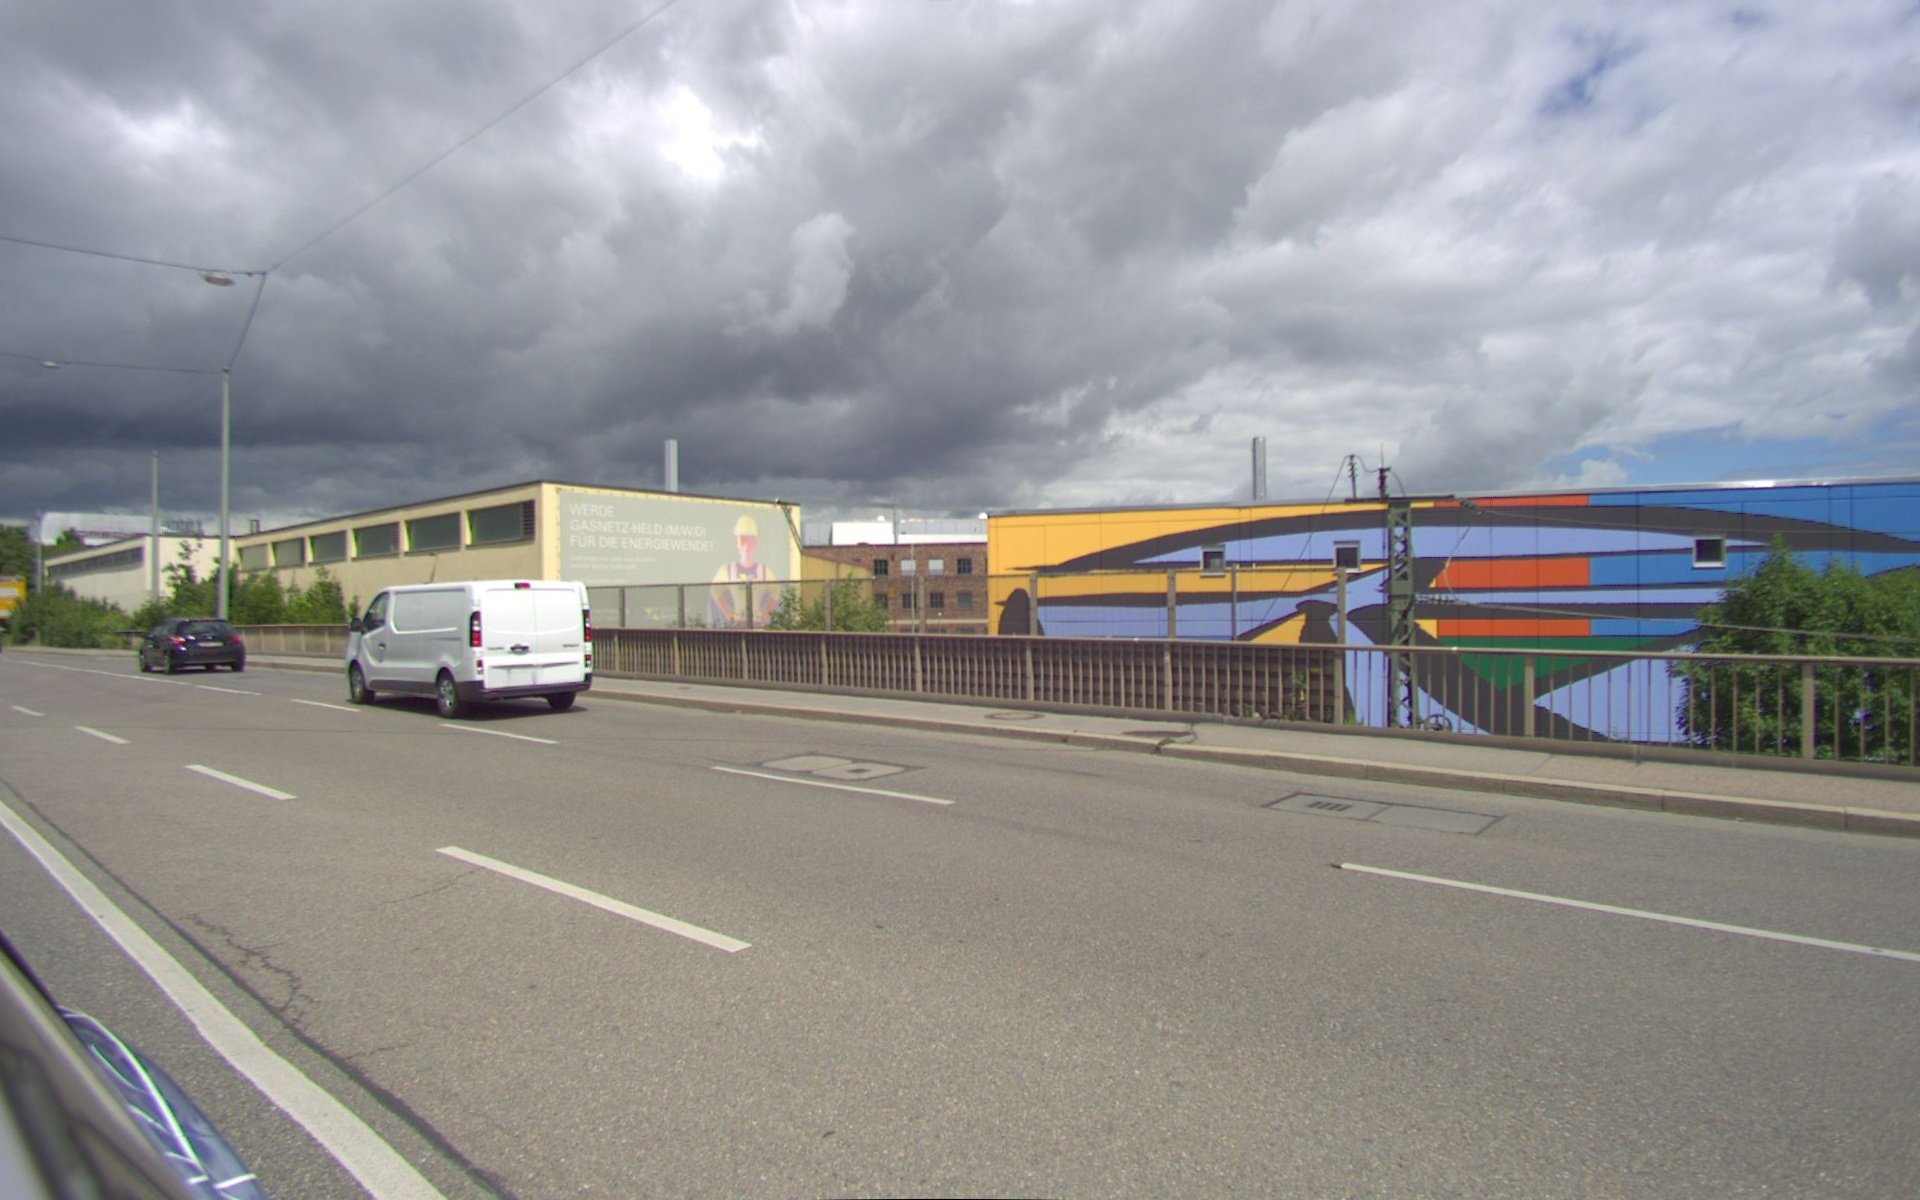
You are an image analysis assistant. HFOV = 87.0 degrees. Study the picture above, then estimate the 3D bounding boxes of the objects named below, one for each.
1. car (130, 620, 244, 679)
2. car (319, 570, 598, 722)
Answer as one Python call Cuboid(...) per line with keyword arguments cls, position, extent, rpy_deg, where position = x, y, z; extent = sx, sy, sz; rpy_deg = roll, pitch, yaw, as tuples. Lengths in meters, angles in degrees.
Cuboid(cls="car", position=(-20.741, 1.273, 27.116), extent=(3.795, 1.423, 1.592), rpy_deg=(-1, 0, 39))
Cuboid(cls="car", position=(-8.113, 0.633, 16.063), extent=(5.645, 2.029, 1.872), rpy_deg=(-1, 0, 40))
